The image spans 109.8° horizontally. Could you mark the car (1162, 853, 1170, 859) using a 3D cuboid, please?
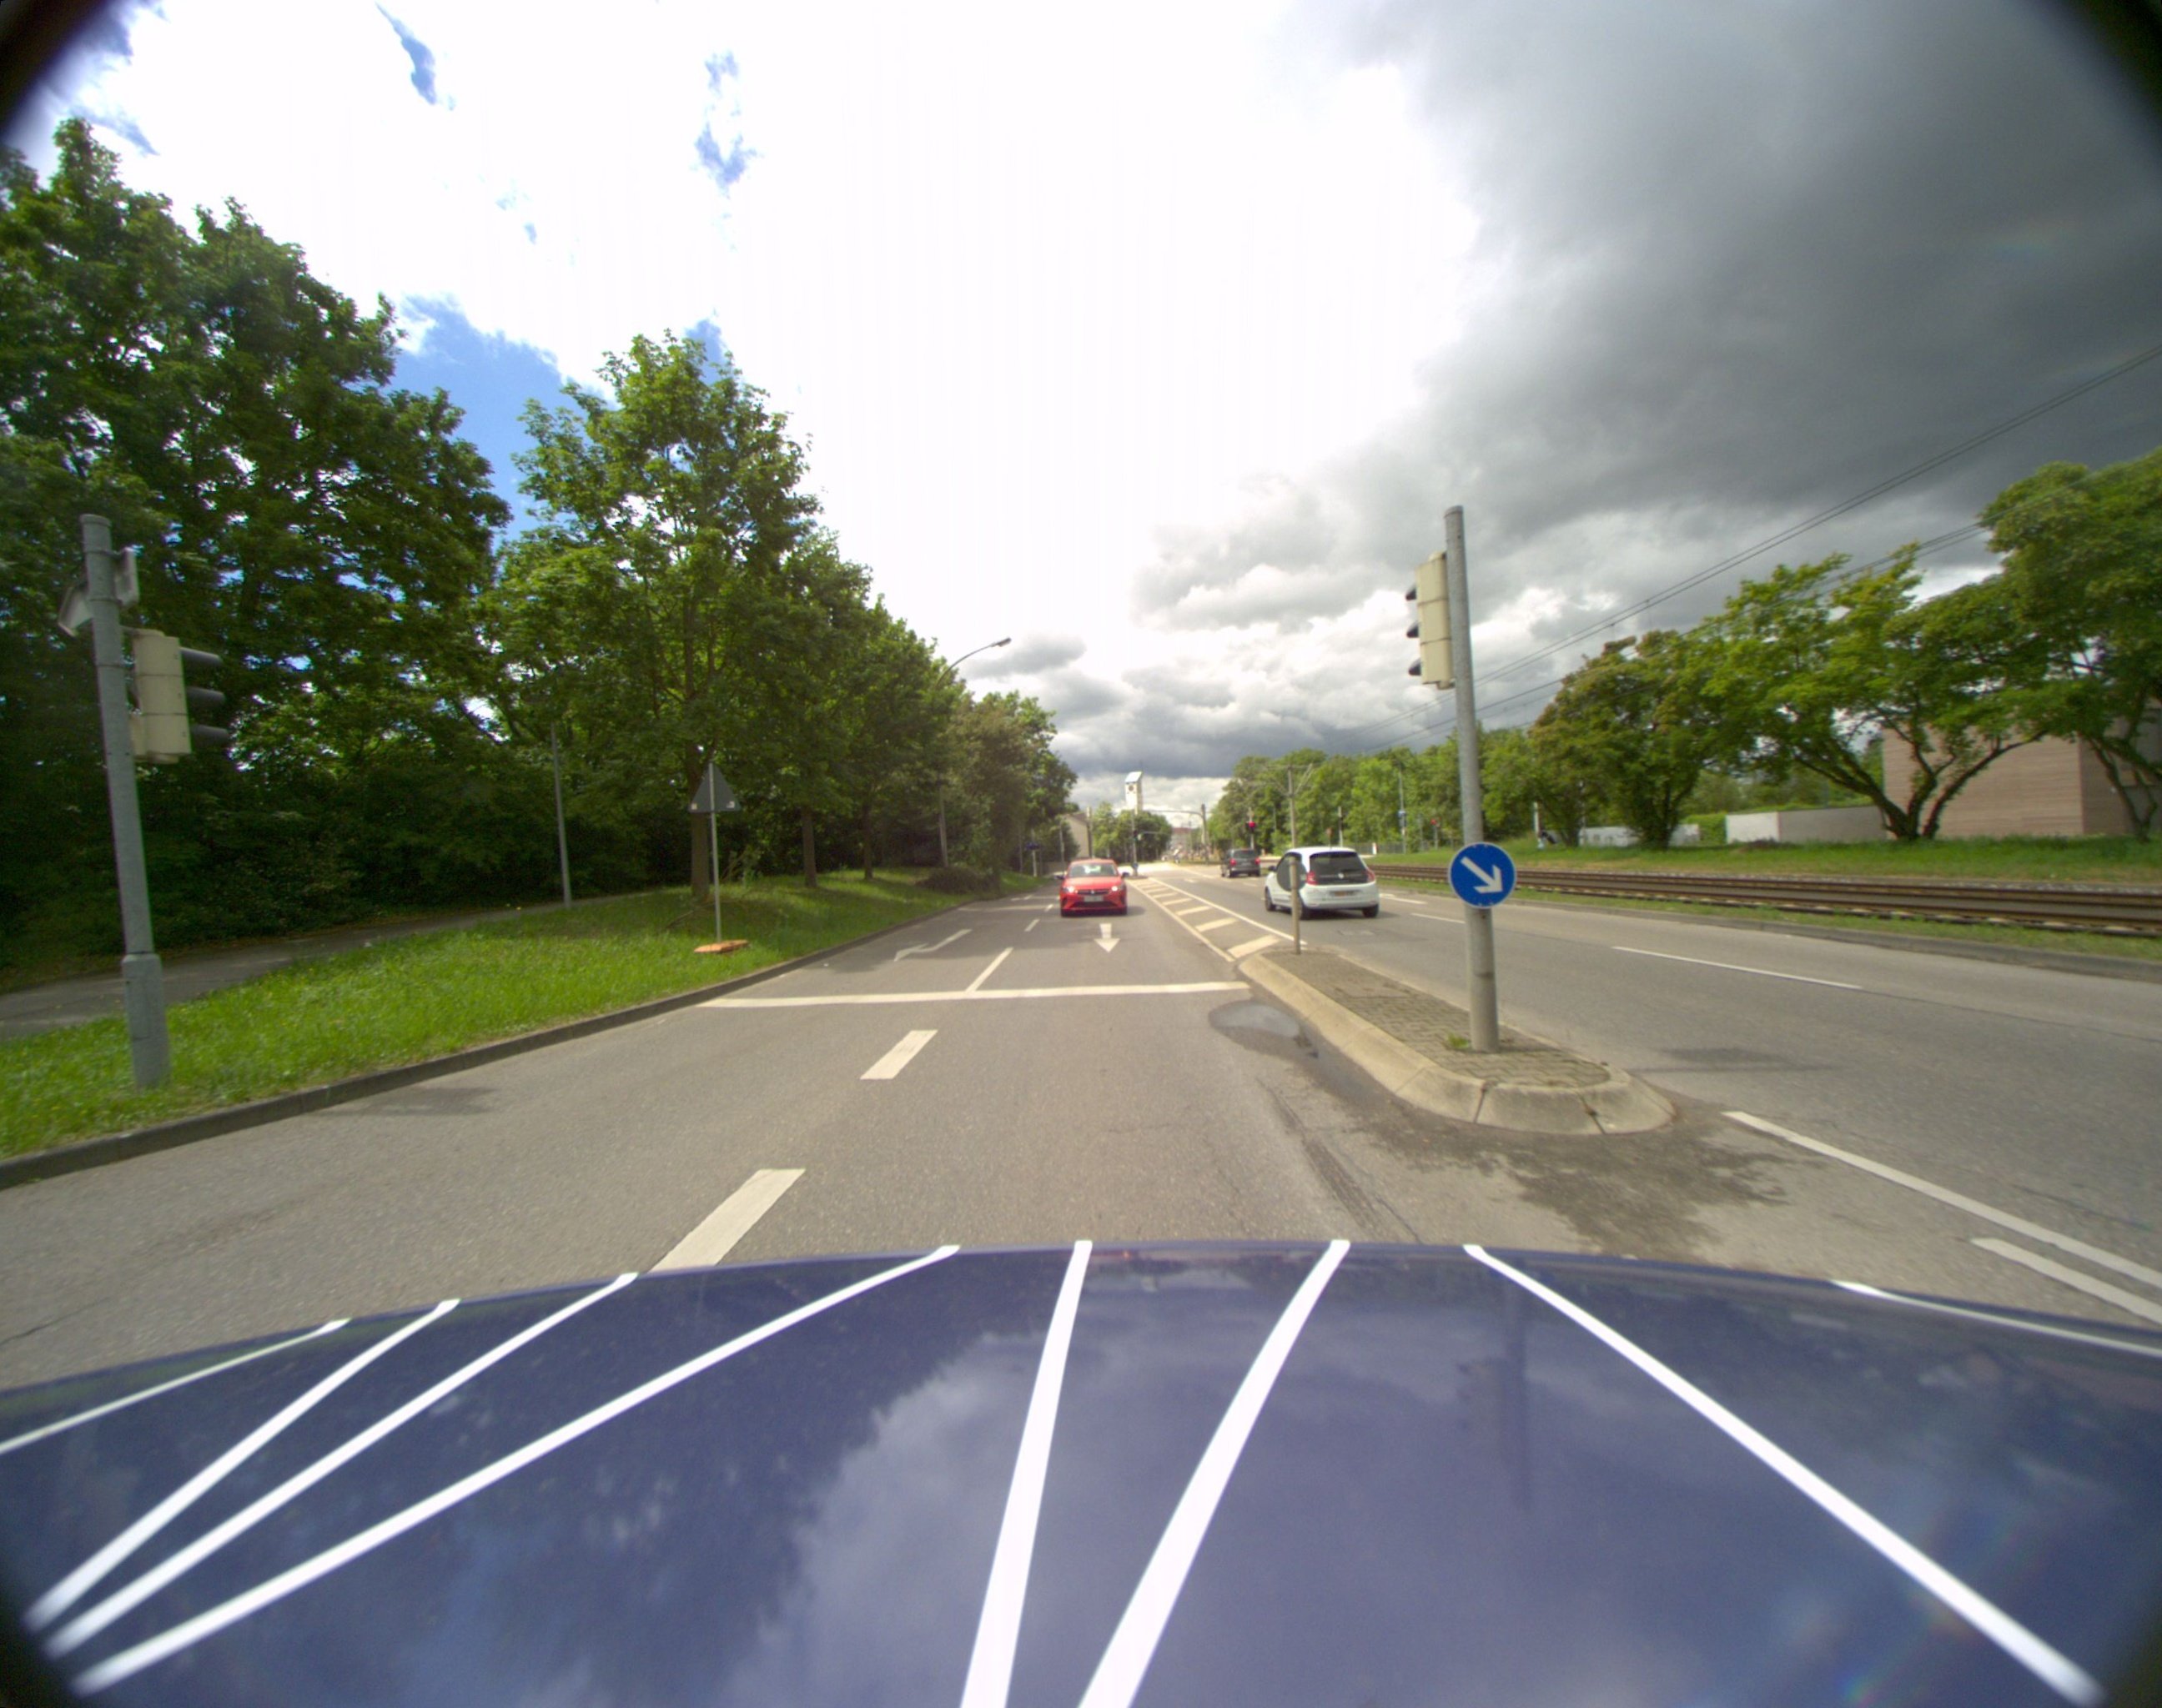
[{"bbox_3d":[22.602,0.572,201.537,1.789,1.340,4.853,-4,1,5],"label":"car"}]

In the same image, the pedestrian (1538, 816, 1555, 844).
[{"bbox_3d":[29.231,-1.504,47.721,0.801,1.713,0.491,-5,2,-31],"label":"pedestrian"}]

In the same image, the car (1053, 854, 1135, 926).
[{"bbox_3d":[0.336,0.835,19.921,1.790,1.453,4.852,-4,1,1],"label":"car"}]

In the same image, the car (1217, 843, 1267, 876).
[{"bbox_3d":[9.128,0.255,43.359,1.998,1.650,4.522,-4,1,3],"label":"car"}]

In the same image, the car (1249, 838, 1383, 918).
[{"bbox_3d":[5.243,0.454,17.562,1.733,1.603,4.262,-1,1,-1],"label":"car"}]
